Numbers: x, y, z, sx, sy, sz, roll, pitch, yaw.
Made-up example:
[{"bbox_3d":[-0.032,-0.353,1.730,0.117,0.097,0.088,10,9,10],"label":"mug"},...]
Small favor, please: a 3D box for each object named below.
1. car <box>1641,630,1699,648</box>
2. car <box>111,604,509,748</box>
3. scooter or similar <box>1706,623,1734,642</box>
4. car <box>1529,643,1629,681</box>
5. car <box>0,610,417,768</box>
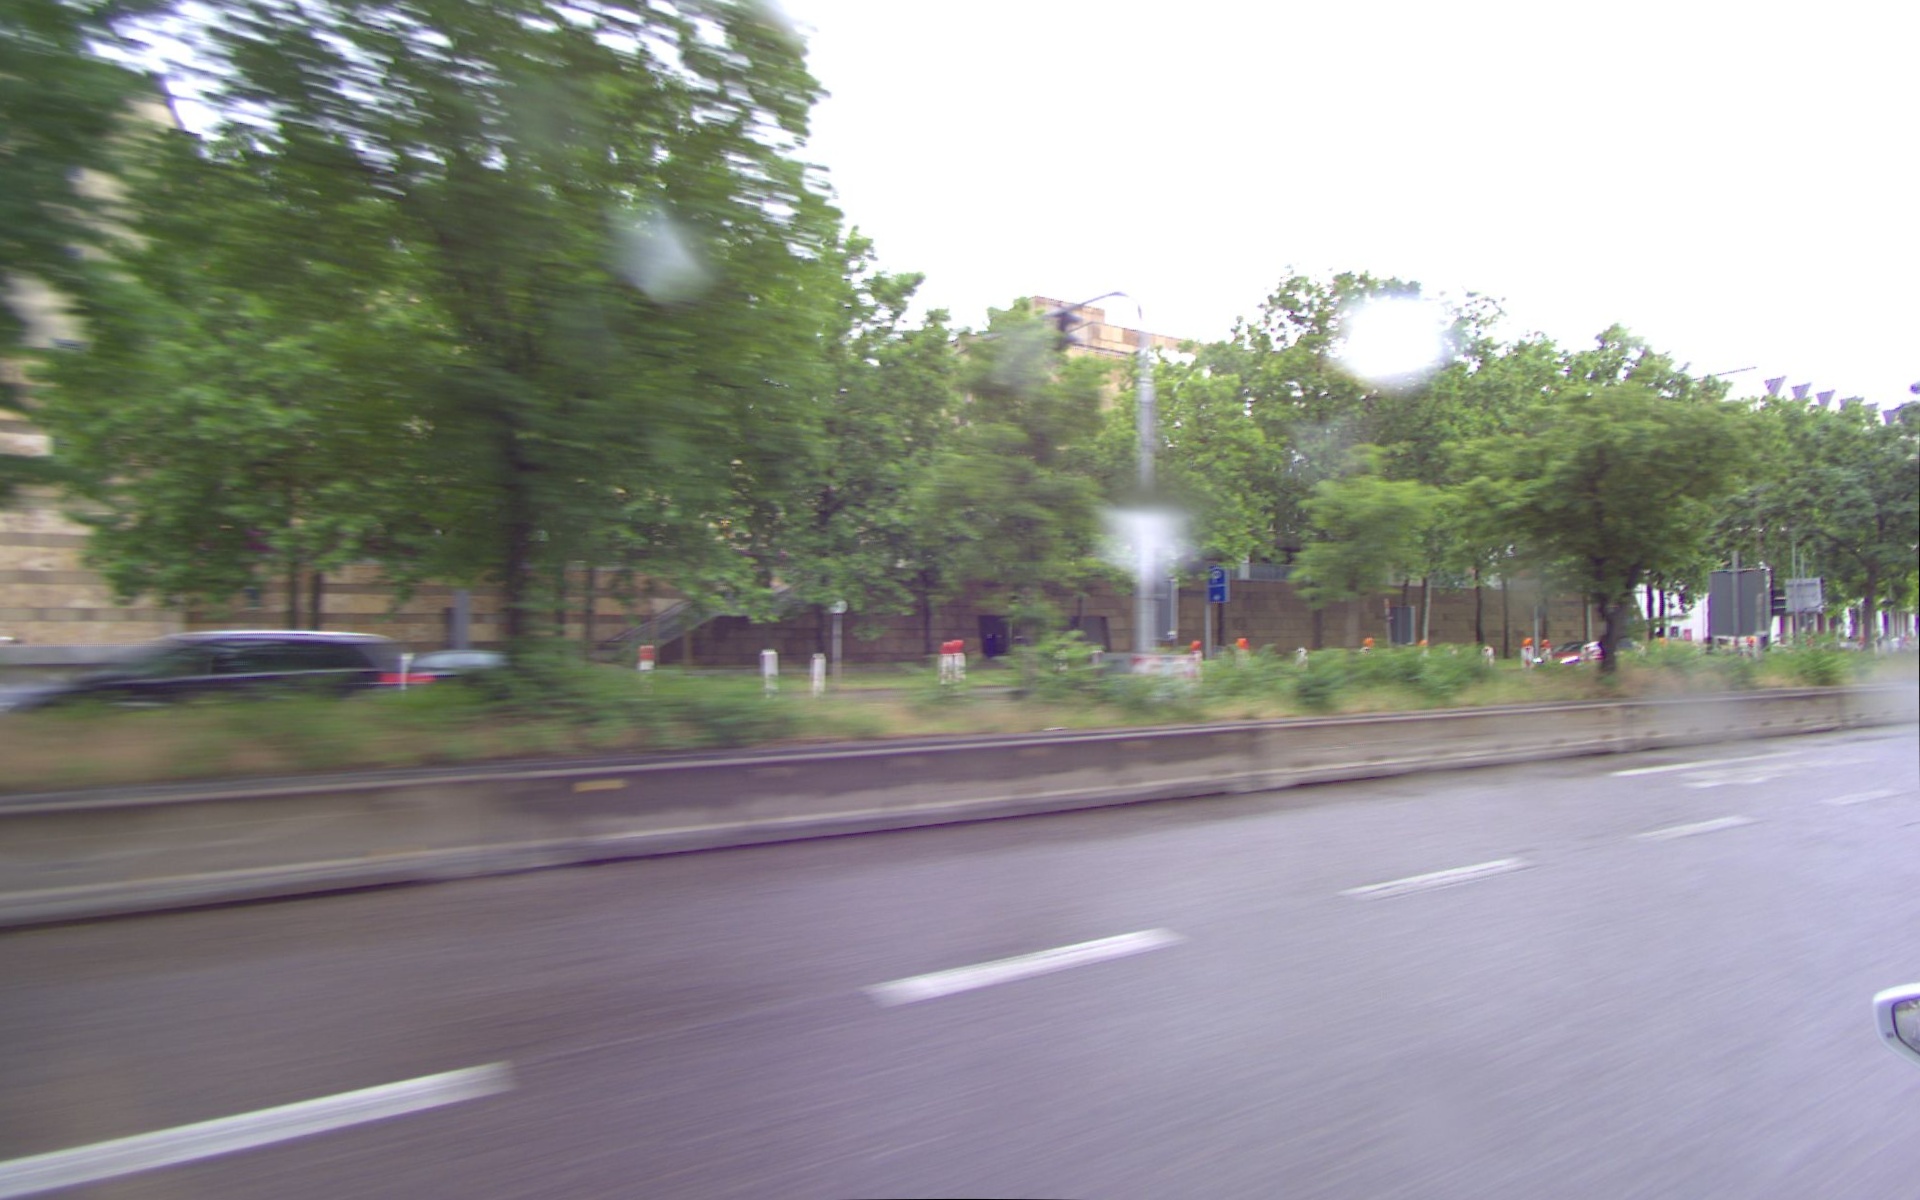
[{"bbox_3d":[66.376,3.668,93.894,1.977,1.617,3.967,0,-2,-31],"label":"car"},{"bbox_3d":[-7.748,0.839,12.362,3.885,1.528,1.537,0,-2,-31],"label":"car"},{"bbox_3d":[58.483,2.512,77.332,1.644,1.369,0.714,0,-3,-9],"label":"scooter or similar"},{"bbox_3d":[26.837,2.666,43.538,3.951,1.550,1.986,1,-4,-29],"label":"car"},{"bbox_3d":[-8.825,0.957,12.074,3.955,1.617,1.983,0,-2,-32],"label":"car"}]
